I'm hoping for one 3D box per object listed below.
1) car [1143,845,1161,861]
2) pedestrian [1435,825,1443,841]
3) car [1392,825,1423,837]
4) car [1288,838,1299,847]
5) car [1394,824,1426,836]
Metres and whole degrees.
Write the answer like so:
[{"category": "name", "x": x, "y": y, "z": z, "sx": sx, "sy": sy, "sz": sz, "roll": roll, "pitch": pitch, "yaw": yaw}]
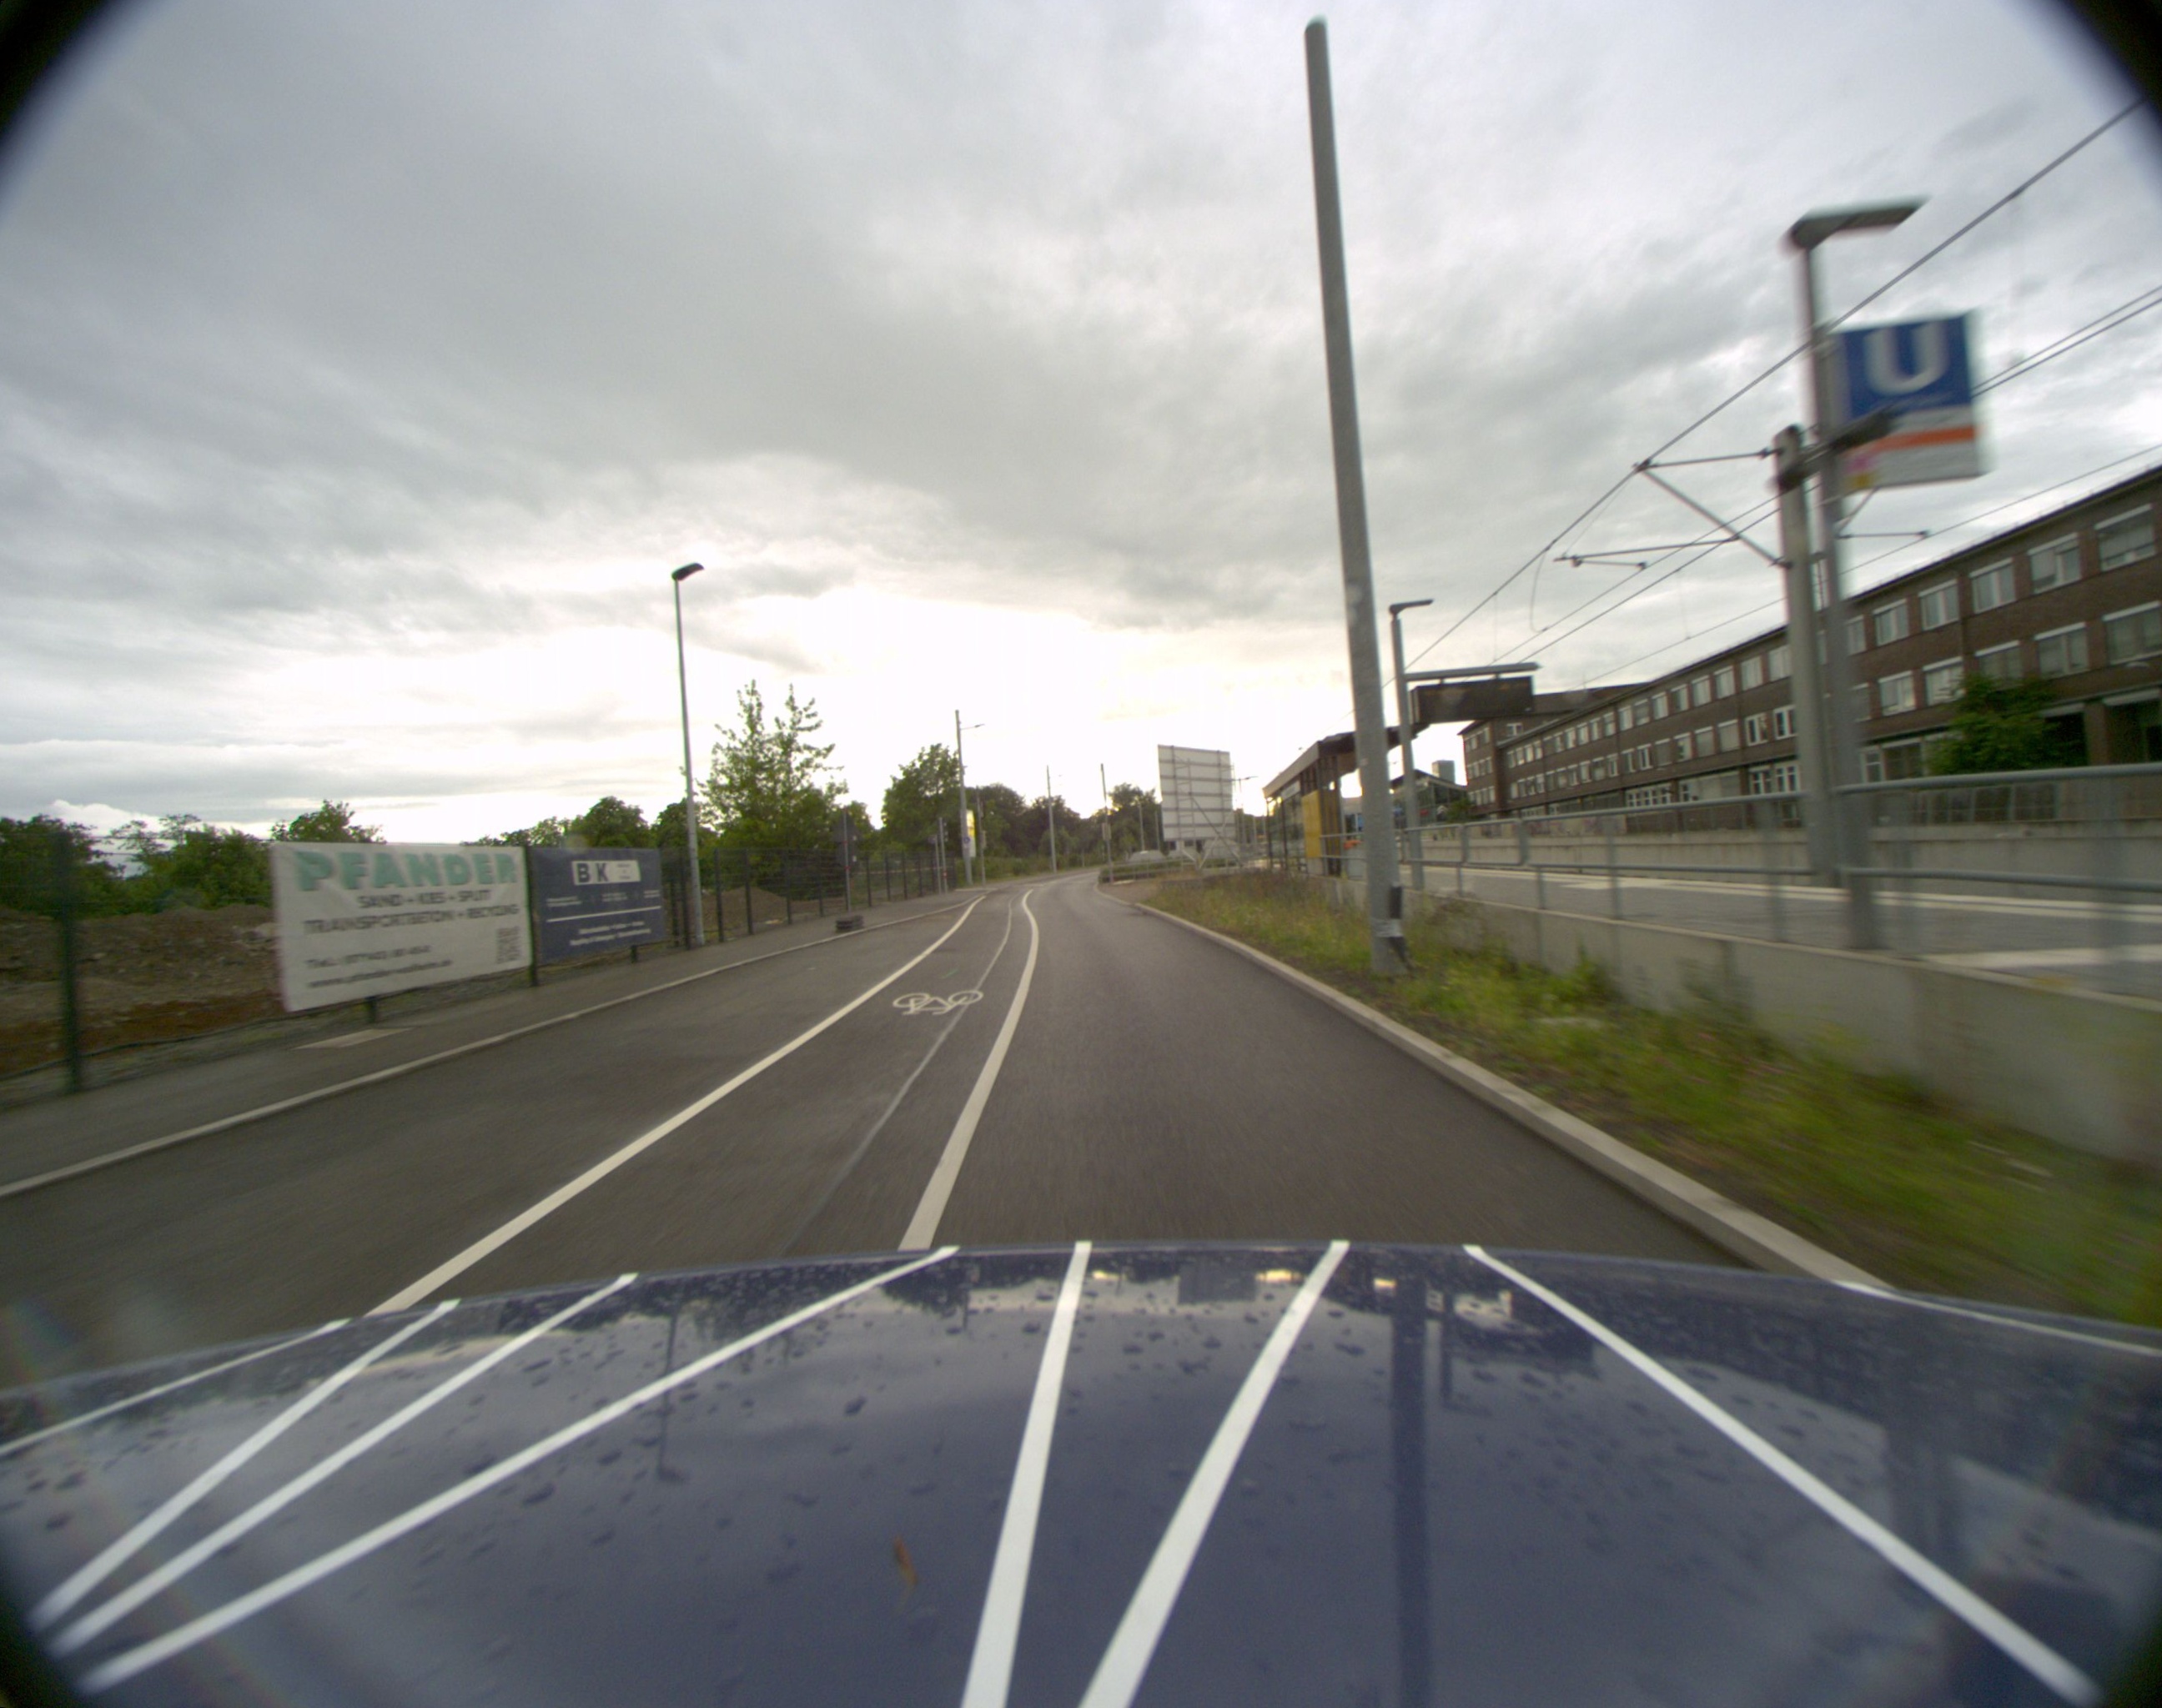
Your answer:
[{"category": "car", "x": 9.679, "y": -0.197, "z": 103.099, "sx": 1.997, "sy": 2.002, "sz": 4.003, "roll": -3, "pitch": 0, "yaw": 11}, {"category": "pedestrian", "x": 46.815, "y": -2.776, "z": 99.368, "sx": 0.581, "sy": 2.002, "sz": 0.728, "roll": -3, "pitch": 1, "yaw": -26}, {"category": "car", "x": 56.240, "y": -3.958, "z": 131.015, "sx": 4.573, "sy": 1.750, "sz": 2.001, "roll": -4, "pitch": 0, "yaw": 10}, {"category": "car", "x": 50.015, "y": -2.722, "z": 178.781, "sx": 1.997, "sy": 2.002, "sz": 4.002, "roll": -3, "pitch": 0, "yaw": 7}, {"category": "car", "x": 55.363, "y": -4.028, "z": 127.822, "sx": 4.573, "sy": 1.750, "sz": 2.001, "roll": -4, "pitch": 0, "yaw": 10}]
